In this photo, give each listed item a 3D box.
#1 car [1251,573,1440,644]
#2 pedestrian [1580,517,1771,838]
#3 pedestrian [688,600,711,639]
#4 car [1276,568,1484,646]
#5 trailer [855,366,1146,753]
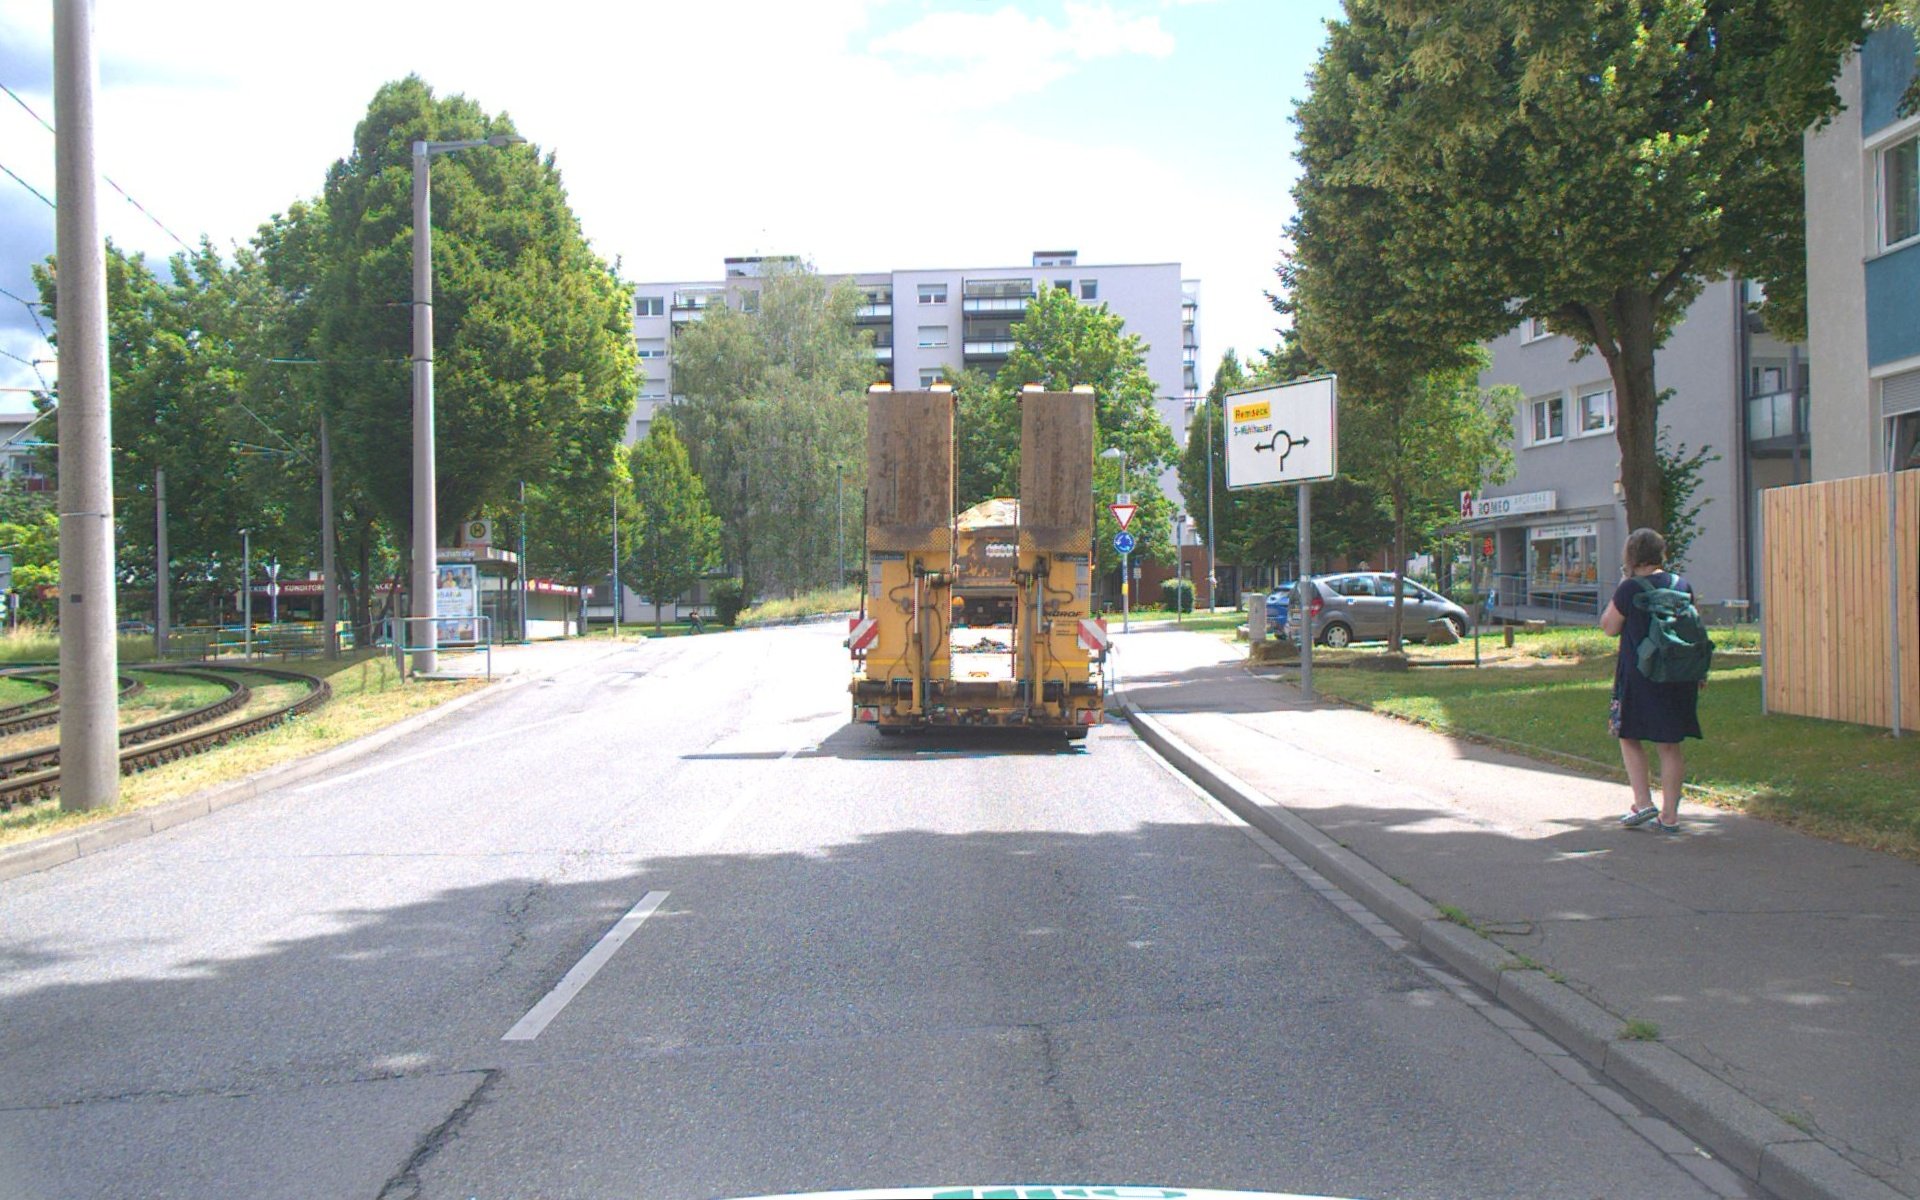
[{"bbox_3d":[8.937,0.187,38.428,3.918,1.588,1.754,0,0,-13],"label":"car"},{"bbox_3d":[4.082,0.421,9.483,0.703,1.736,0.766,-2,1,-1],"label":"pedestrian"},{"bbox_3d":[-13.783,1.046,87.554,0.898,2.049,0.952,0,0,-31],"label":"pedestrian"},{"bbox_3d":[8.847,0.157,34.966,3.918,1.588,1.754,0,0,-13],"label":"car"},{"bbox_3d":[0.525,-0.426,22.094,2.769,3.709,12.356,0,0,1],"label":"trailer"}]
